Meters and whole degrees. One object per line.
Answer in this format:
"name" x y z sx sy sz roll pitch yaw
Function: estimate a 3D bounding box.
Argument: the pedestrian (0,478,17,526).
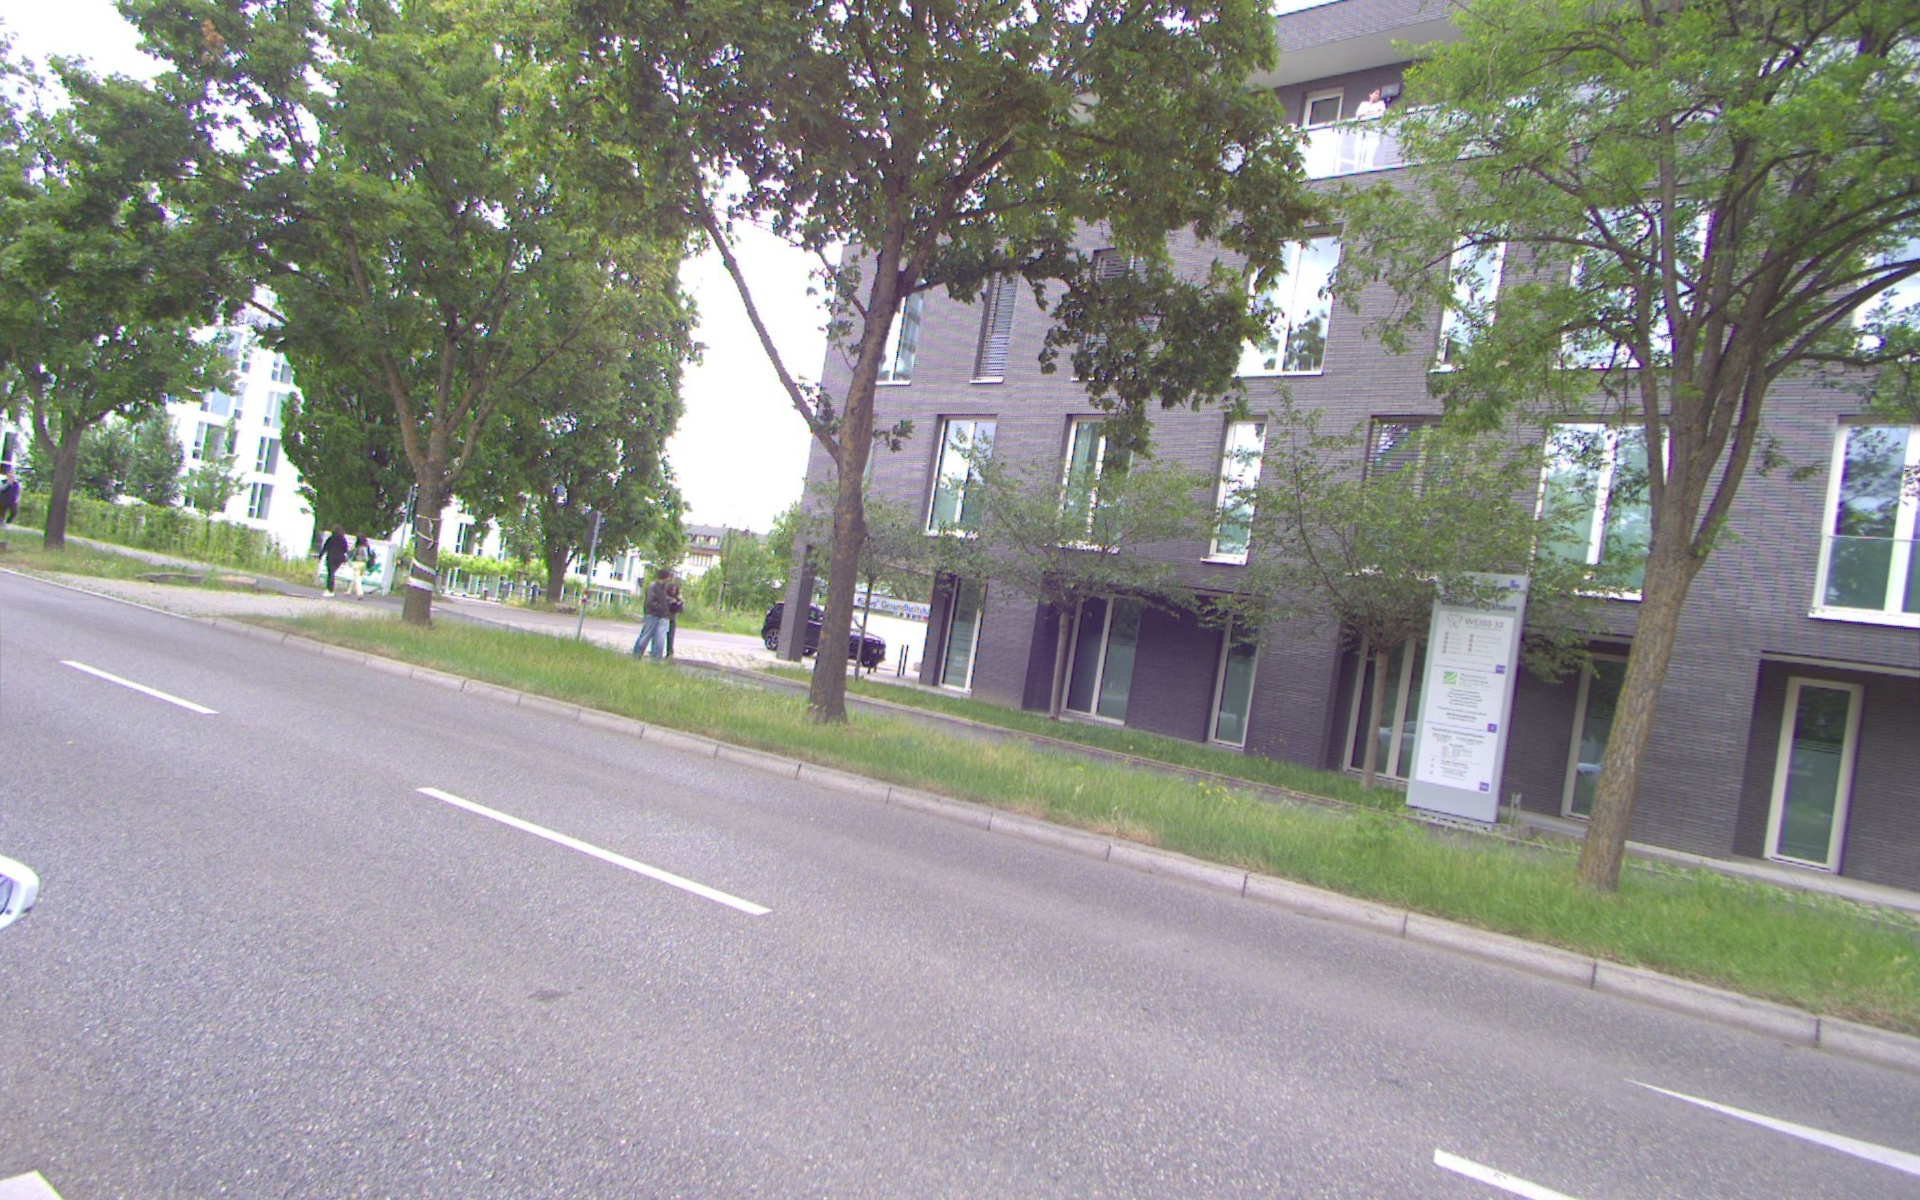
"pedestrian" -35.725 -3.676 37.286 0.868 1.705 0.768 7 -1 31

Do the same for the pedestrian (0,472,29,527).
"pedestrian" -29.967 -3.175 31.627 0.663 1.592 0.743 7 -1 31

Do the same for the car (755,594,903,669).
"car" -3.988 0.942 30.463 4.080 1.665 1.759 7 -2 32

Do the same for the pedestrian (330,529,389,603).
"pedestrian" -14.946 -0.847 25.046 0.937 1.679 0.779 7 -1 38

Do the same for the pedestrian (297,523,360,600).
"pedestrian" -15.232 -0.924 24.258 1.043 1.679 0.796 7 -1 38

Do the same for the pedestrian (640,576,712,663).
"pedestrian" -5.658 0.396 20.032 0.861 1.575 0.833 7 -1 34

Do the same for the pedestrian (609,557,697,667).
"pedestrian" -5.747 0.232 18.867 0.963 1.889 0.960 7 -1 36
